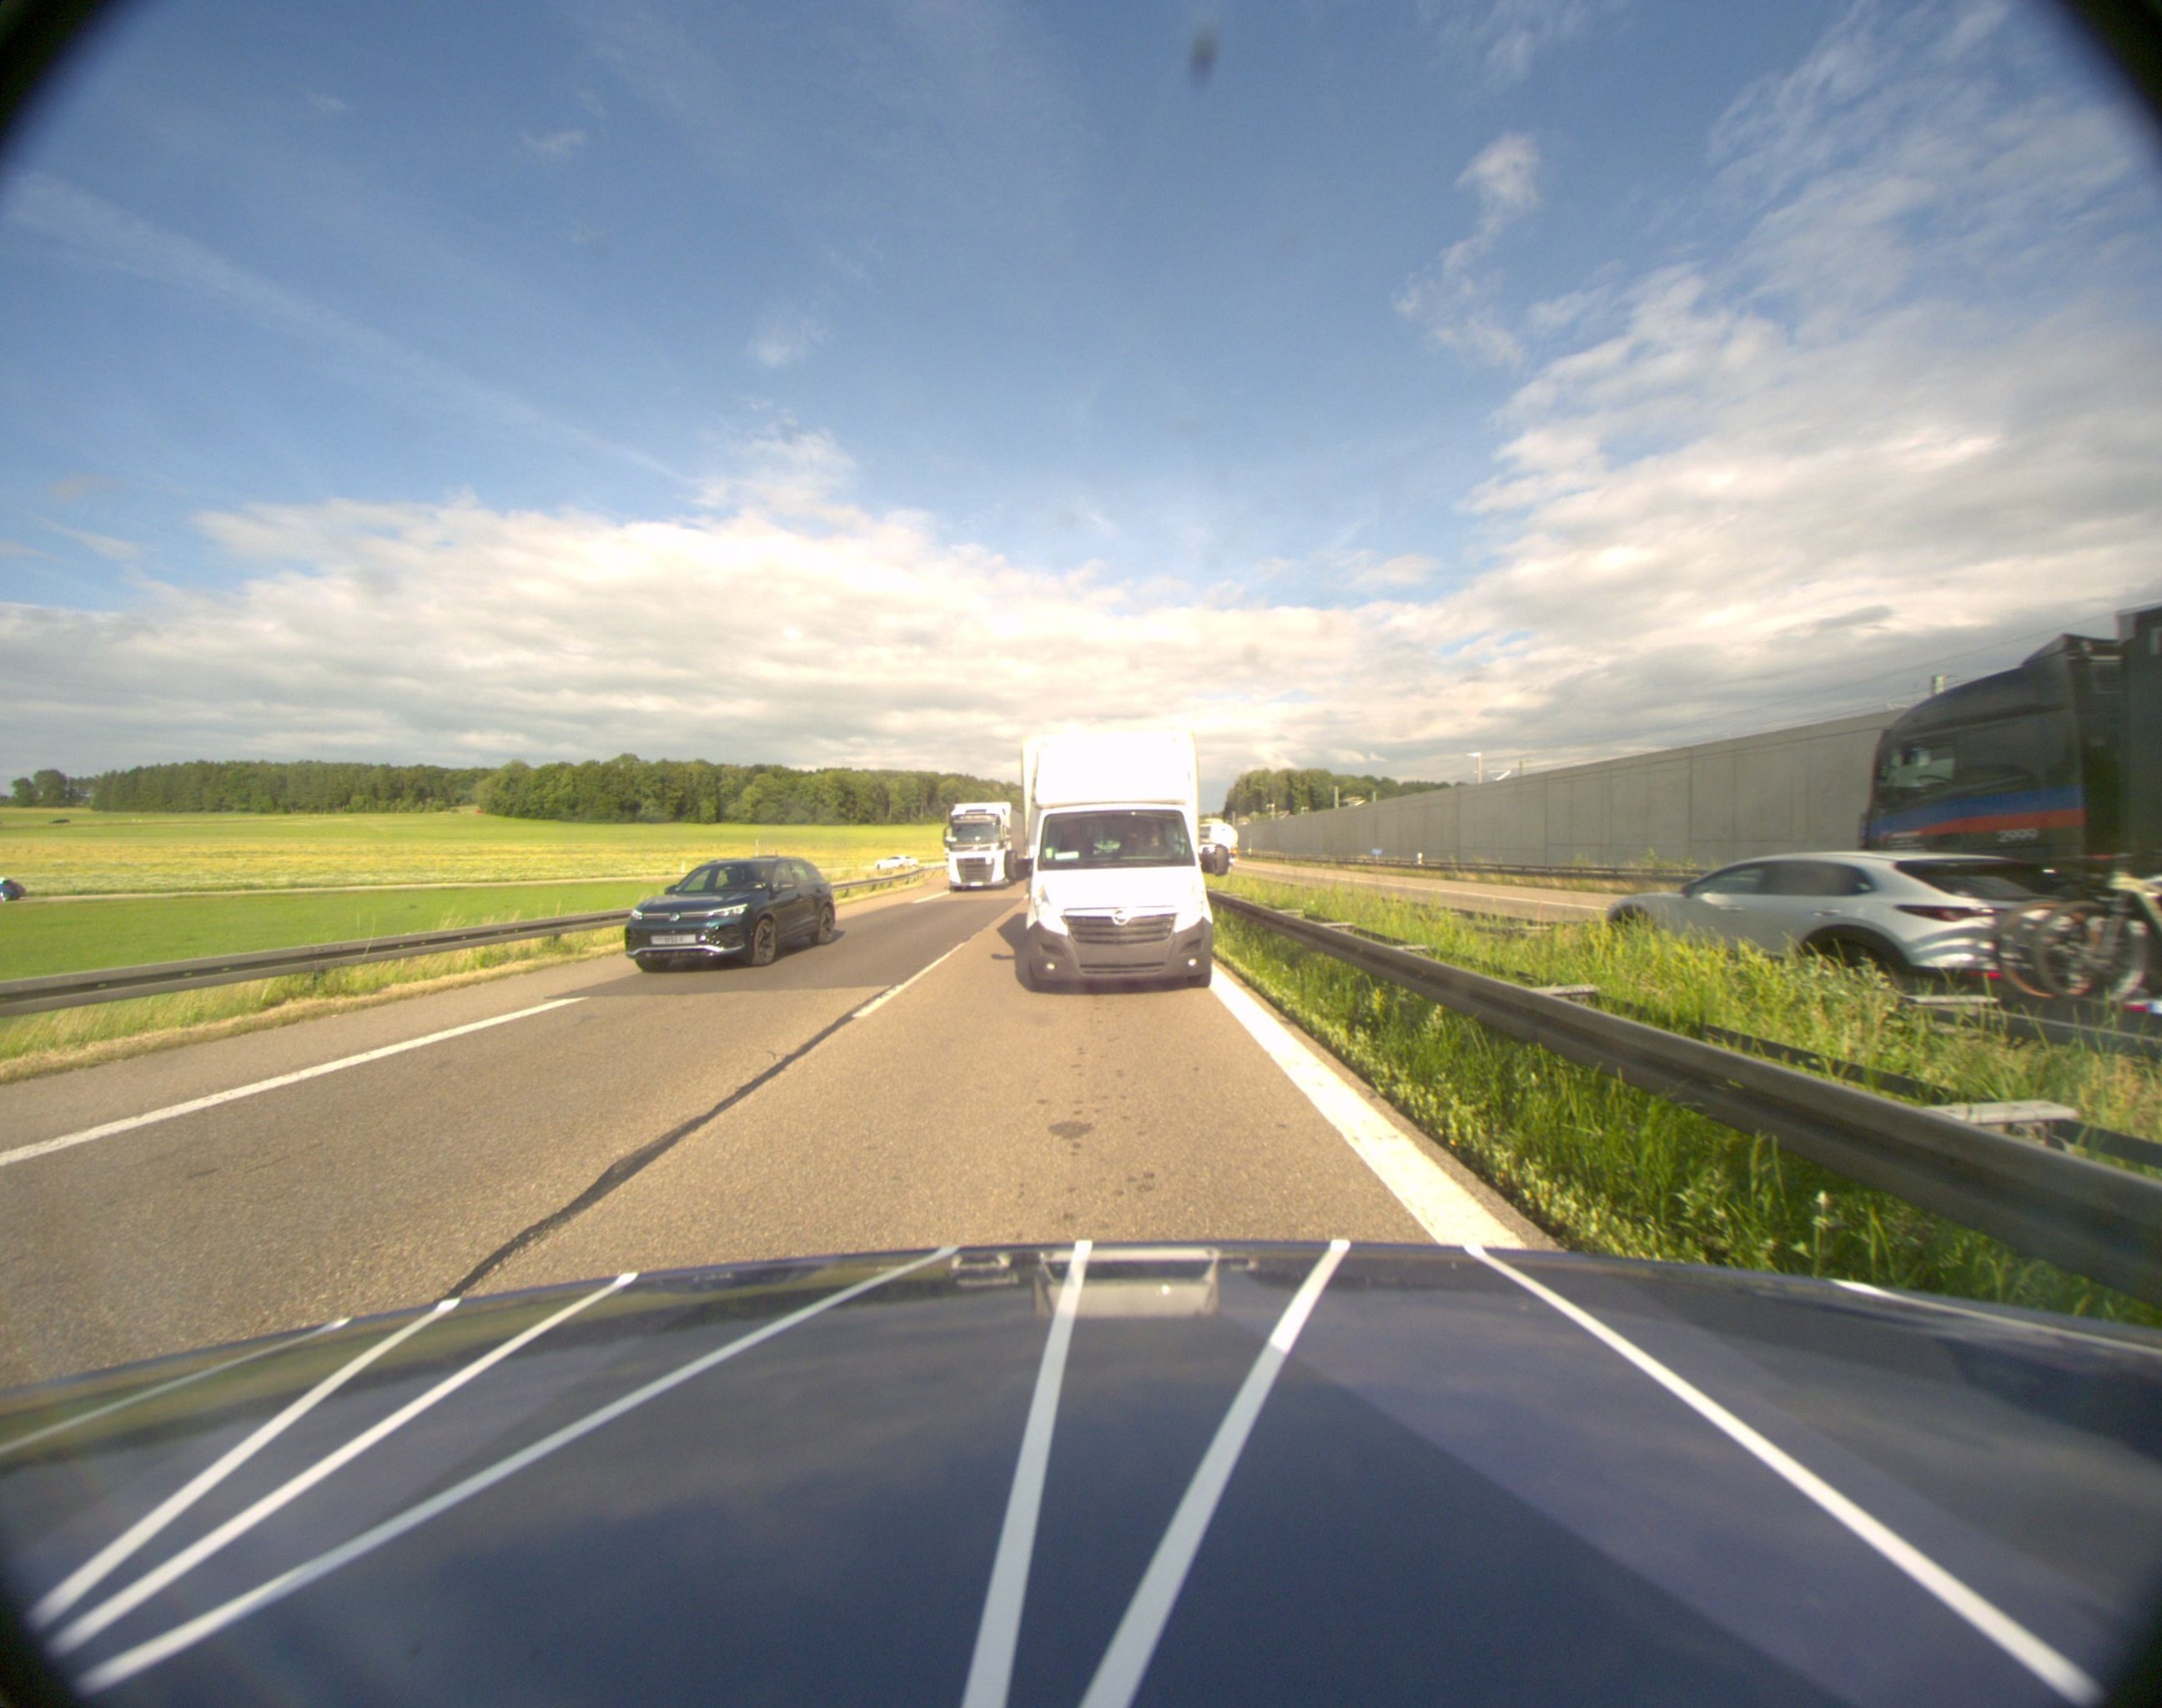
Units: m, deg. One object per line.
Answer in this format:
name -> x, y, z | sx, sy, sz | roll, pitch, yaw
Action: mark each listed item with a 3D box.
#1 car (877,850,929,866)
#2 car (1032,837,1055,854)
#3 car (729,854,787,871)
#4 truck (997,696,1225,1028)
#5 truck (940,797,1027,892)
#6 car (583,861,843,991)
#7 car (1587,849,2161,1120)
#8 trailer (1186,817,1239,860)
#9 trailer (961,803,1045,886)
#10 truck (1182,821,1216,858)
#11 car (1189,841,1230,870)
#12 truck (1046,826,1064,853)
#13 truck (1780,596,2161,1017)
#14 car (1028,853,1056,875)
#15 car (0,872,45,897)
car -> -19.020, 0.459, 81.159 | 5.070, 1.537, 2.002 | -2, 1, 20
car -> -3.896, -0.871, 79.482 | 1.998, 1.647, 4.000 | -2, 1, 2
car -> -33.454, 0.874, 78.691 | 5.130, 1.548, 1.995 | -3, 1, -39
truck -> 0.462, 0.028, 11.125 | 2.059, 3.088, 7.803 | -2, 1, 3
truck -> -4.411, -0.439, 35.774 | 2.842, 3.967, 6.501 | -2, 1, 3
car -> -5.596, 0.996, 12.275 | 1.998, 1.587, 4.119 | -2, 1, 3
car -> 7.542, 0.816, 7.378 | 1.893, 1.622, 5.110 | -2, 1, 1
trailer -> 12.542, -1.461, 73.680 | 2.547, 3.749, 12.535 | 0, 1, -2
trailer -> -4.119, -0.557, 43.152 | 2.826, 3.959, 12.128 | -2, 1, 3
truck -> 12.282, -1.508, 79.742 | 2.559, 3.776, 5.415 | 0, 1, -2
car -> 8.535, 0.051, 50.846 | 1.998, 1.873, 4.786 | 0, 1, 1
truck -> -3.566, -1.985, 105.321 | 1.998, 3.663, 5.931 | -2, 1, 2
truck -> 11.824, -0.495, 7.920 | 2.761, 4.067, 6.952 | -2, 1, 1
car -> -3.281, 0.821, 64.159 | 1.998, 1.647, 4.000 | -2, 1, 2
car -> -70.214, 2.012, 49.038 | 3.567, 1.521, 1.720 | -3, 1, -37
